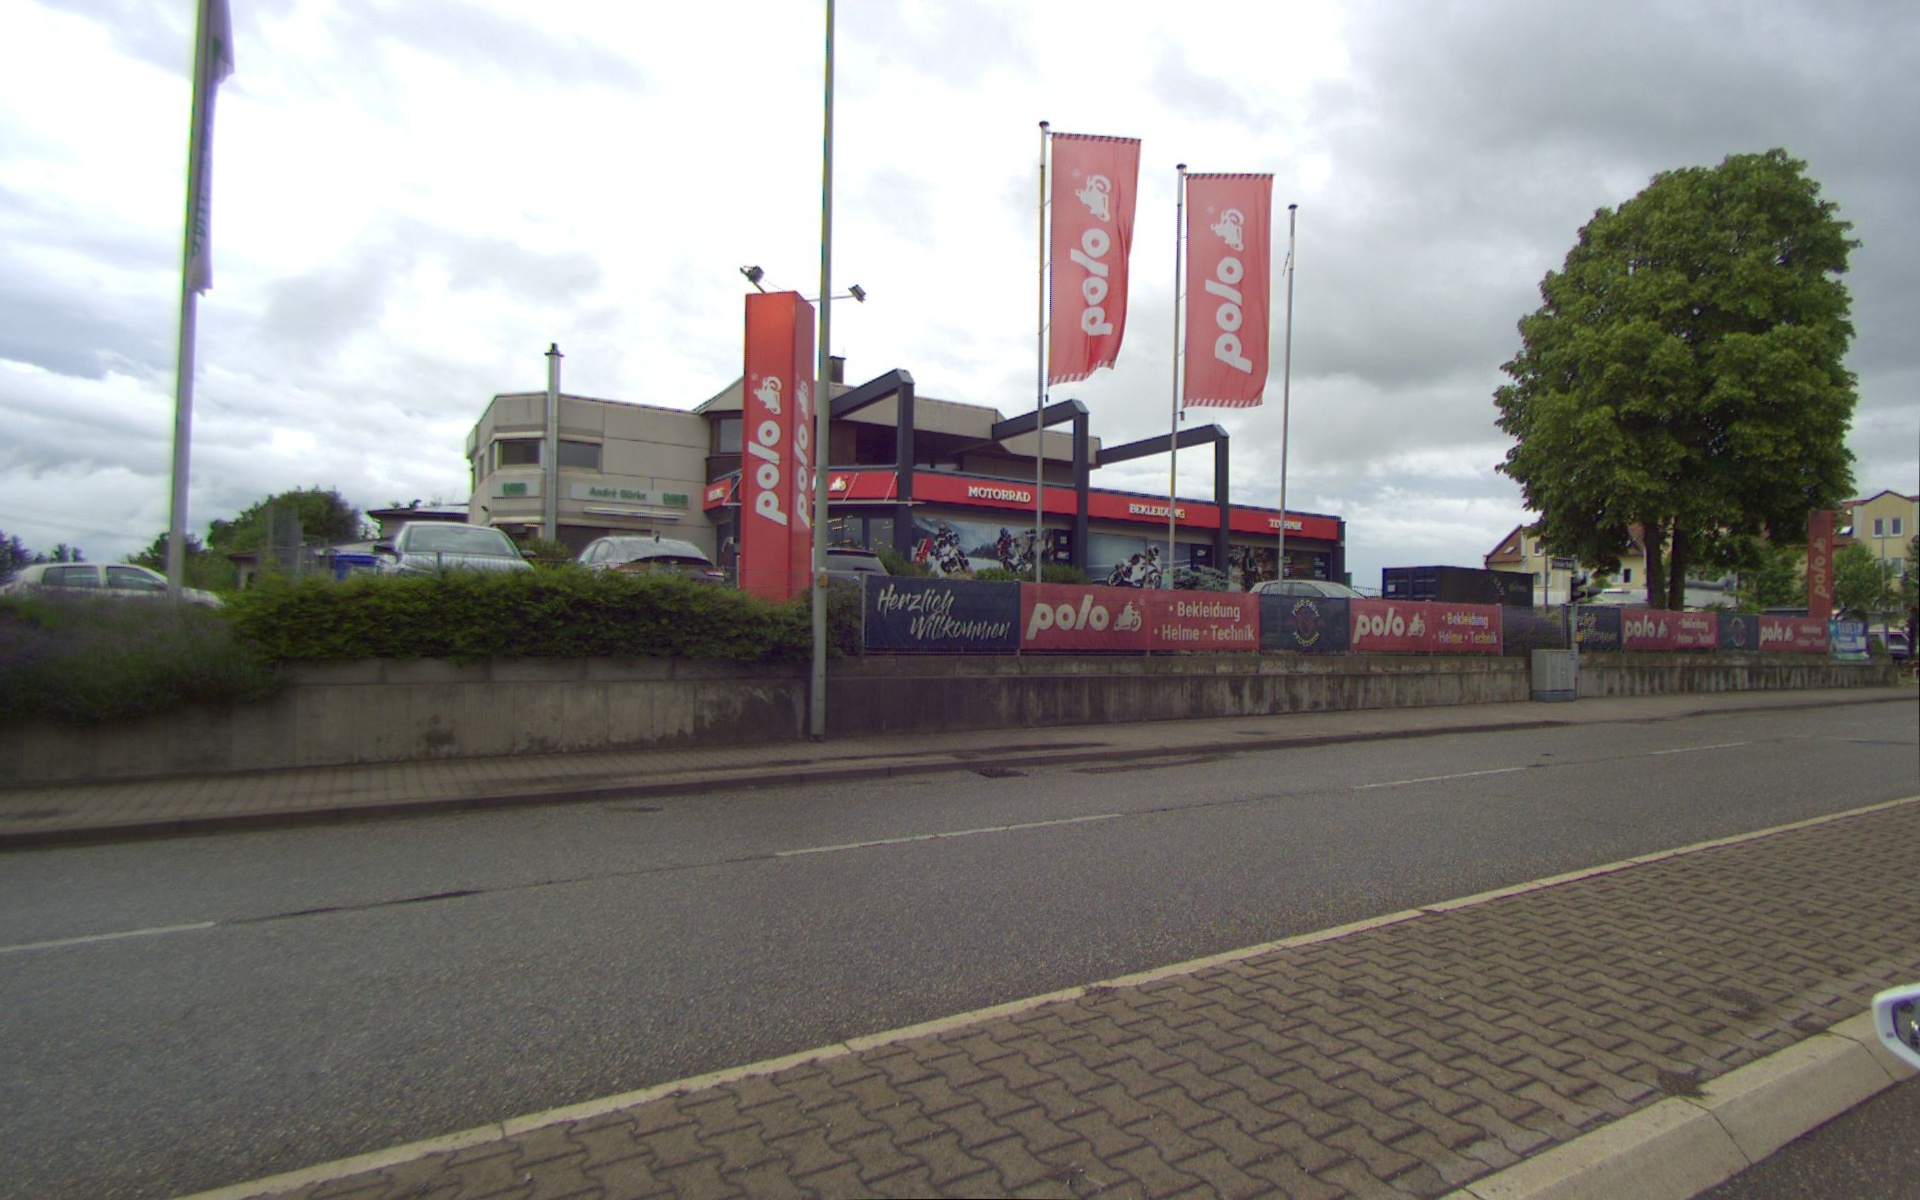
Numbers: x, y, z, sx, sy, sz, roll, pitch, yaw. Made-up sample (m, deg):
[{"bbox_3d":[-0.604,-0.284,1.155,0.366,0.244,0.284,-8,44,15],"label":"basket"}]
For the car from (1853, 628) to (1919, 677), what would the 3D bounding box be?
[{"bbox_3d":[41.028,2.218,42.644,4.324,2.040,1.996,-2,-3,32],"label":"car"}]

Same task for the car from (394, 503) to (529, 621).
[{"bbox_3d":[-6.729,-0.401,13.469,1.436,1.355,3.371,1,-2,-29],"label":"car"}]

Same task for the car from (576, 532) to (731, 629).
[{"bbox_3d":[-4.731,-0.222,15.228,1.438,1.294,3.368,1,-2,-32],"label":"car"}]

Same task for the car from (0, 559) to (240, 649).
[{"bbox_3d":[-16.180,0.119,19.566,3.346,1.617,1.520,1,-1,-30],"label":"car"}]

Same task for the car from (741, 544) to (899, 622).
[{"bbox_3d":[-2.476,-0.219,17.168,1.438,1.183,3.368,1,-2,-32],"label":"car"}]

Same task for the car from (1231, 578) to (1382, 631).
[{"bbox_3d":[8.412,0.146,24.621,1.438,1.183,3.368,1,-2,-32],"label":"car"}]

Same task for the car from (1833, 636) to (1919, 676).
[{"bbox_3d":[42.543,2.512,44.967,4.927,1.724,1.996,-2,-6,32],"label":"car"}]

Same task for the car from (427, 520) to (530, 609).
[{"bbox_3d":[-9.342,-0.609,19.395,1.438,1.492,3.368,1,-2,-32],"label":"car"}]
